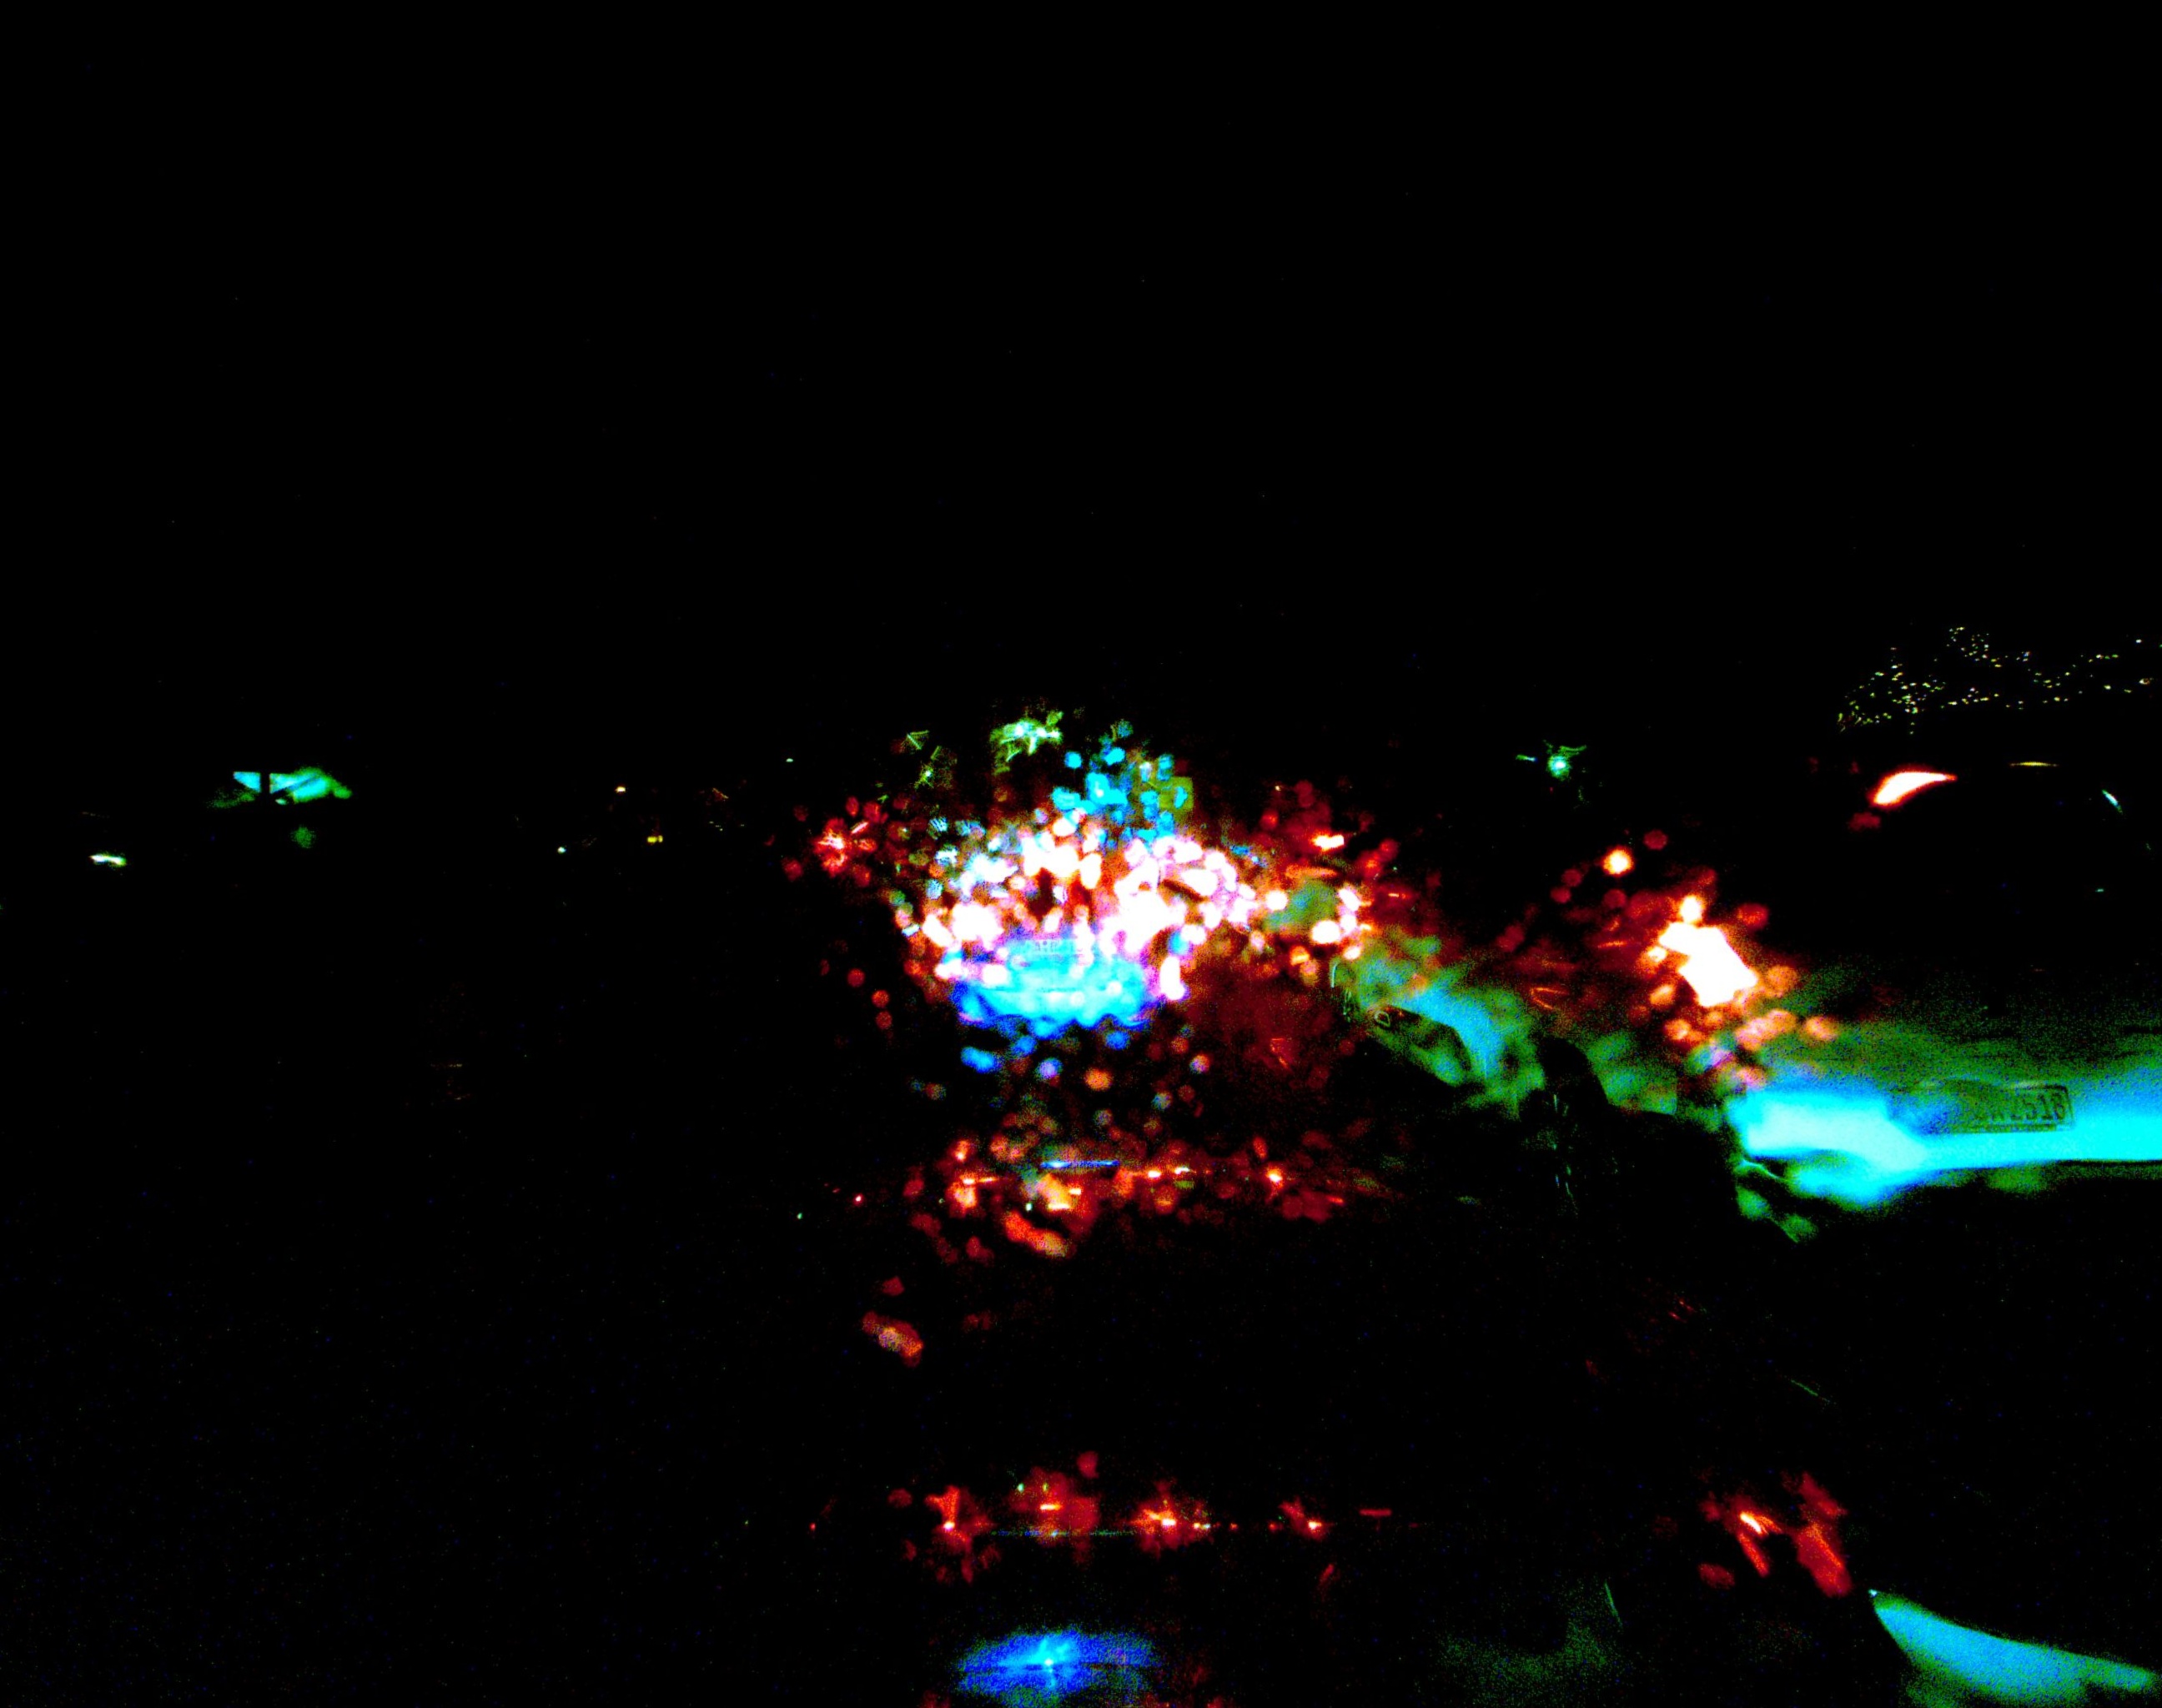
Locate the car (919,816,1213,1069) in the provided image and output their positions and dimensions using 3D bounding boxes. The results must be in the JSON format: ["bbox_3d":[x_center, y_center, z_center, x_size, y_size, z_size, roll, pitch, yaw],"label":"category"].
[{"bbox_3d":[-0.072,0.623,7.811,2.008,1.717,4.452,0,-1,1],"label":"car"}]

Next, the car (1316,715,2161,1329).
[{"bbox_3d":[2.837,0.529,4.660,1.845,1.865,4.342,0,-1,2],"label":"car"}]

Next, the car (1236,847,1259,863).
[{"bbox_3d":[19.123,0.134,93.778,1.857,1.646,3.965,-3,-1,2],"label":"car"}]

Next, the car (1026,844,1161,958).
[{"bbox_3d":[0.251,0.717,14.064,1.986,1.684,4.001,0,-1,2],"label":"car"}]

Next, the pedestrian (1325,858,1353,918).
[{"bbox_3d":[7.447,0.968,23.487,0.621,1.701,0.541,0,-1,-1],"label":"pedestrian"}]

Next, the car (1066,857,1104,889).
[{"bbox_3d":[0.197,1.111,48.244,1.989,1.824,3.995,0,-1,-3],"label":"car"}]

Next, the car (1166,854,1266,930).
[{"bbox_3d":[3.292,0.888,20.624,1.986,1.718,4.001,0,-1,2],"label":"car"}]

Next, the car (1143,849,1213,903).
[{"bbox_3d":[3.134,0.694,27.074,1.986,1.670,4.001,0,-1,2],"label":"car"}]

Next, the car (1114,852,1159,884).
[{"bbox_3d":[2.743,0.704,41.147,1.853,1.544,3.927,0,-1,-2],"label":"car"}]

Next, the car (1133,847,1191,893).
[{"bbox_3d":[3.296,0.627,33.677,1.987,1.773,3.999,0,-1,0],"label":"car"}]

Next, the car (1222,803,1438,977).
[{"bbox_3d":[3.291,0.445,11.639,1.961,2.047,4.001,0,-1,2],"label":"car"}]
